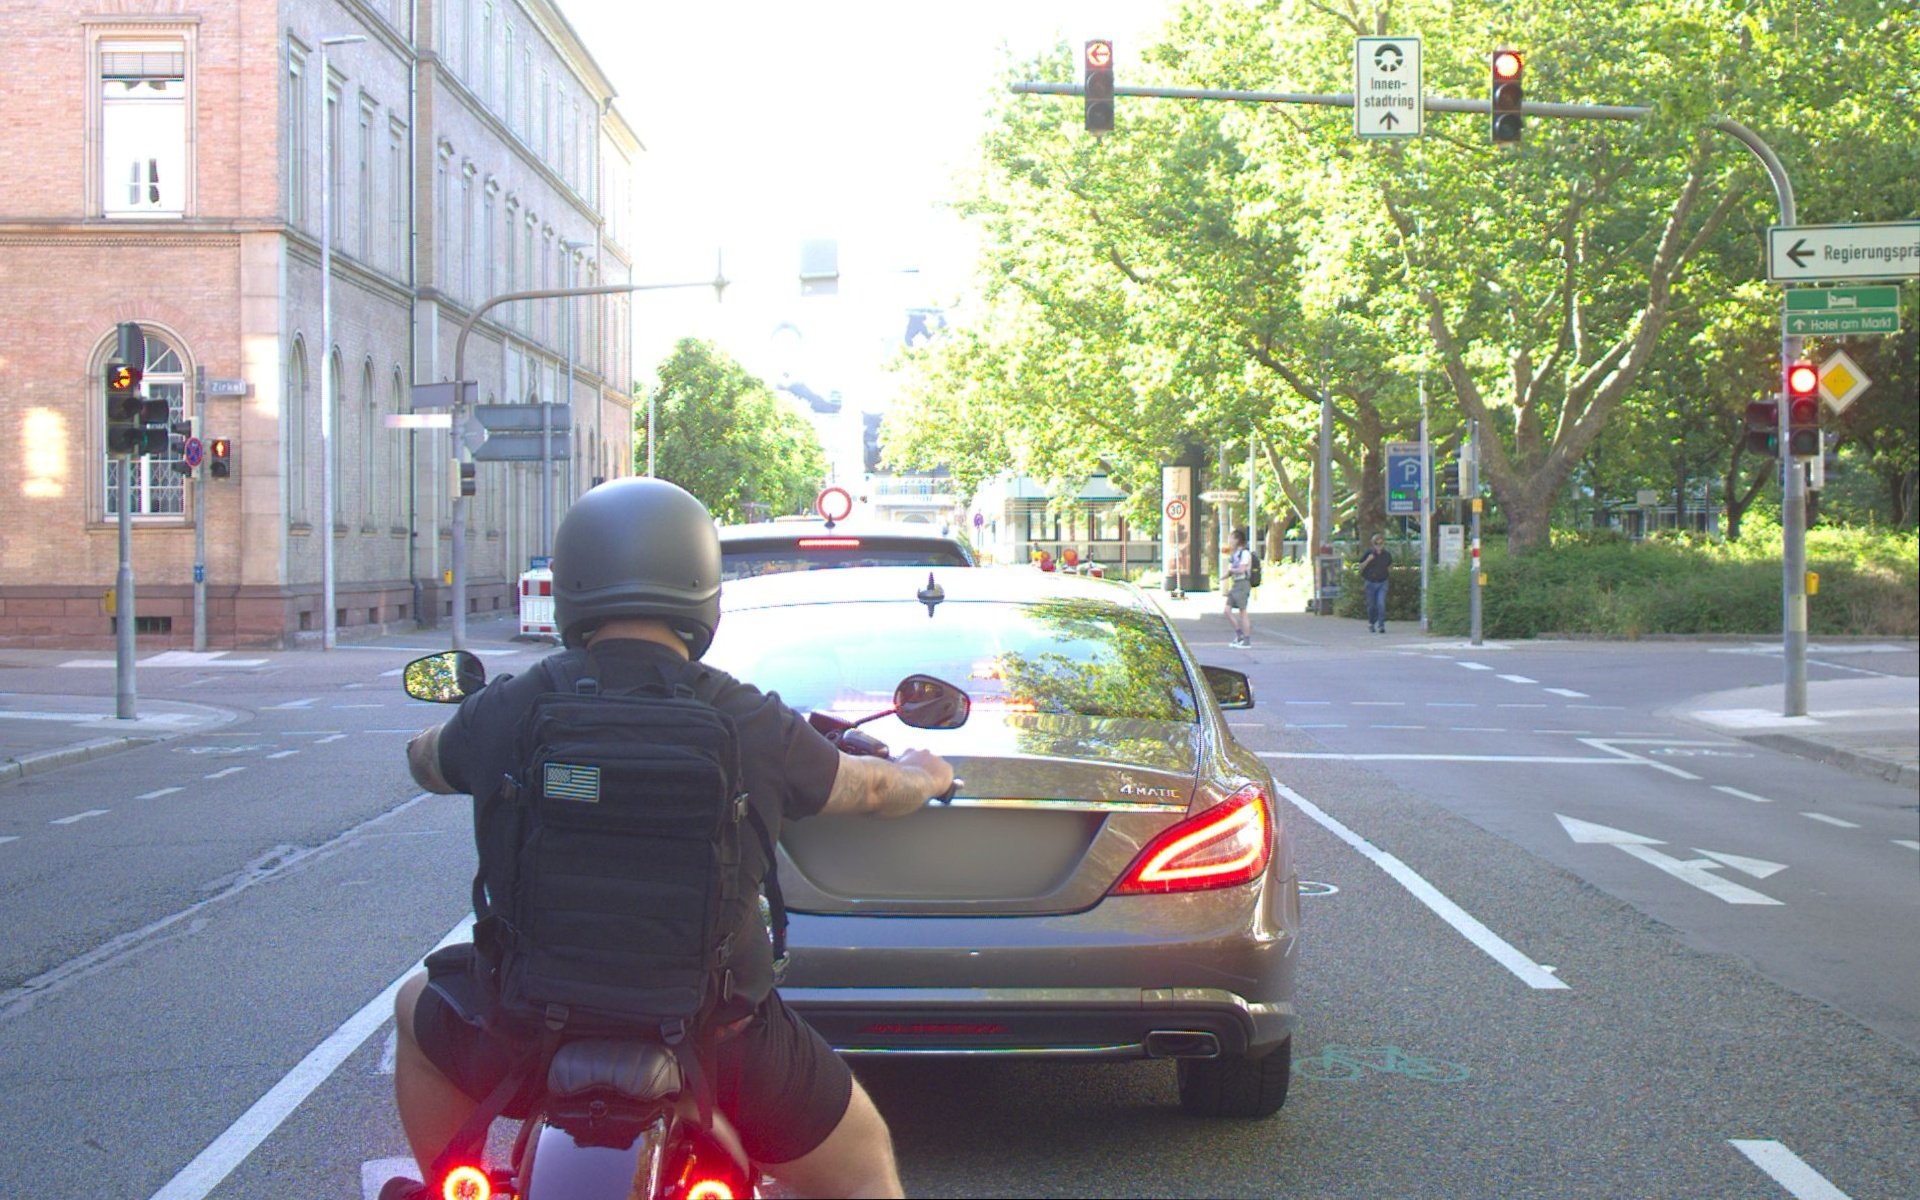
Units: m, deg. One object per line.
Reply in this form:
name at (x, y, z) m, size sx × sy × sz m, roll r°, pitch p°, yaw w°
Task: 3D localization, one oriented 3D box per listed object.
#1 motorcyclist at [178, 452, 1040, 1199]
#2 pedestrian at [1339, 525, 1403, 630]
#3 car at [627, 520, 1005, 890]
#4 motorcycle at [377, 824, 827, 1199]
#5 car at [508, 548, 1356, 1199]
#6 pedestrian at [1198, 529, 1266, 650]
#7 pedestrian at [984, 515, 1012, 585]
motorcyclist at (-0.485, 0.599, 5.284) m, size 1.149 × 1.593 × 1.288 m, roll 1°, pitch 0°, yaw -1°
pedestrian at (7.517, -0.419, 62.915) m, size 0.749 × 1.903 × 0.926 m, roll 1°, pitch 0°, yaw -28°
car at (-0.640, 0.413, 16.738) m, size 1.621 × 1.588 × 4.000 m, roll 0°, pitch 1°, yaw -1°
motorcycle at (-0.498, 0.929, 5.377) m, size 0.513 × 0.999 × 2.013 m, roll 1°, pitch 1°, yaw -1°
car at (-0.085, 0.598, 9.623) m, size 1.882 × 1.444 × 3.820 m, roll 1°, pitch 1°, yaw -1°
pedestrian at (4.180, -0.169, 52.757) m, size 1.002 × 1.820 × 1.076 m, roll 1°, pitch 0°, yaw 6°
pedestrian at (1.117, -1.457, 100.796) m, size 0.764 × 2.044 × 0.712 m, roll 1°, pitch 0°, yaw -1°
